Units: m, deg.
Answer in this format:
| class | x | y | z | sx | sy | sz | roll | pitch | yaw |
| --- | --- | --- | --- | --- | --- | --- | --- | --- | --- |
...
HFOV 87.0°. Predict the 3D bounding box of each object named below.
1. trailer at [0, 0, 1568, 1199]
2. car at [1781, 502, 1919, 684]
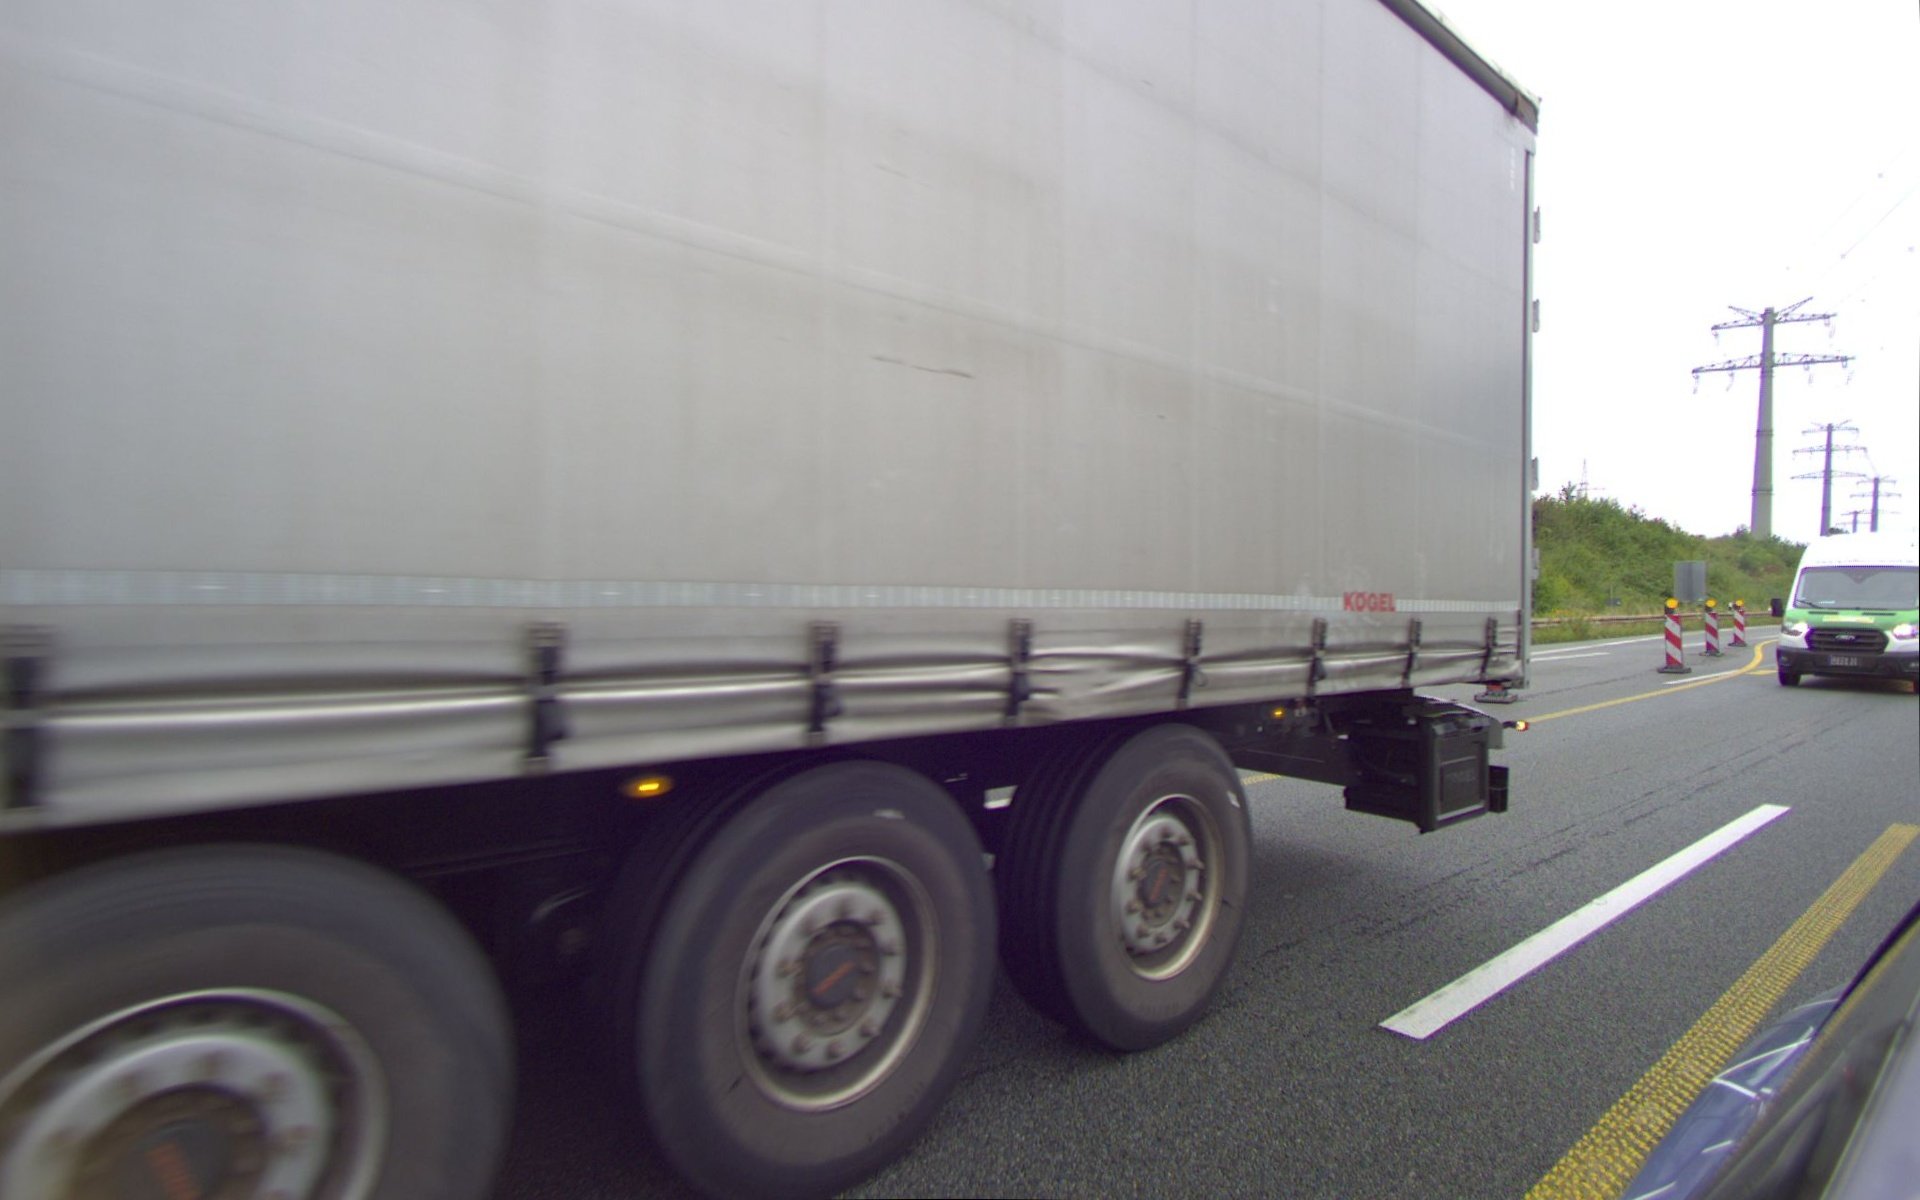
| class | x | y | z | sx | sy | sz | roll | pitch | yaw |
| --- | --- | --- | --- | --- | --- | --- | --- | --- | --- |
| trailer | -2.981 | -0.734 | 1.607 | 13.491 | 4.198 | 2.711 | 0 | 1 | -41 |
| car | 16.491 | -0.126 | 18.012 | 5.656 | 2.817 | 1.997 | 0 | 1 | -42 |
